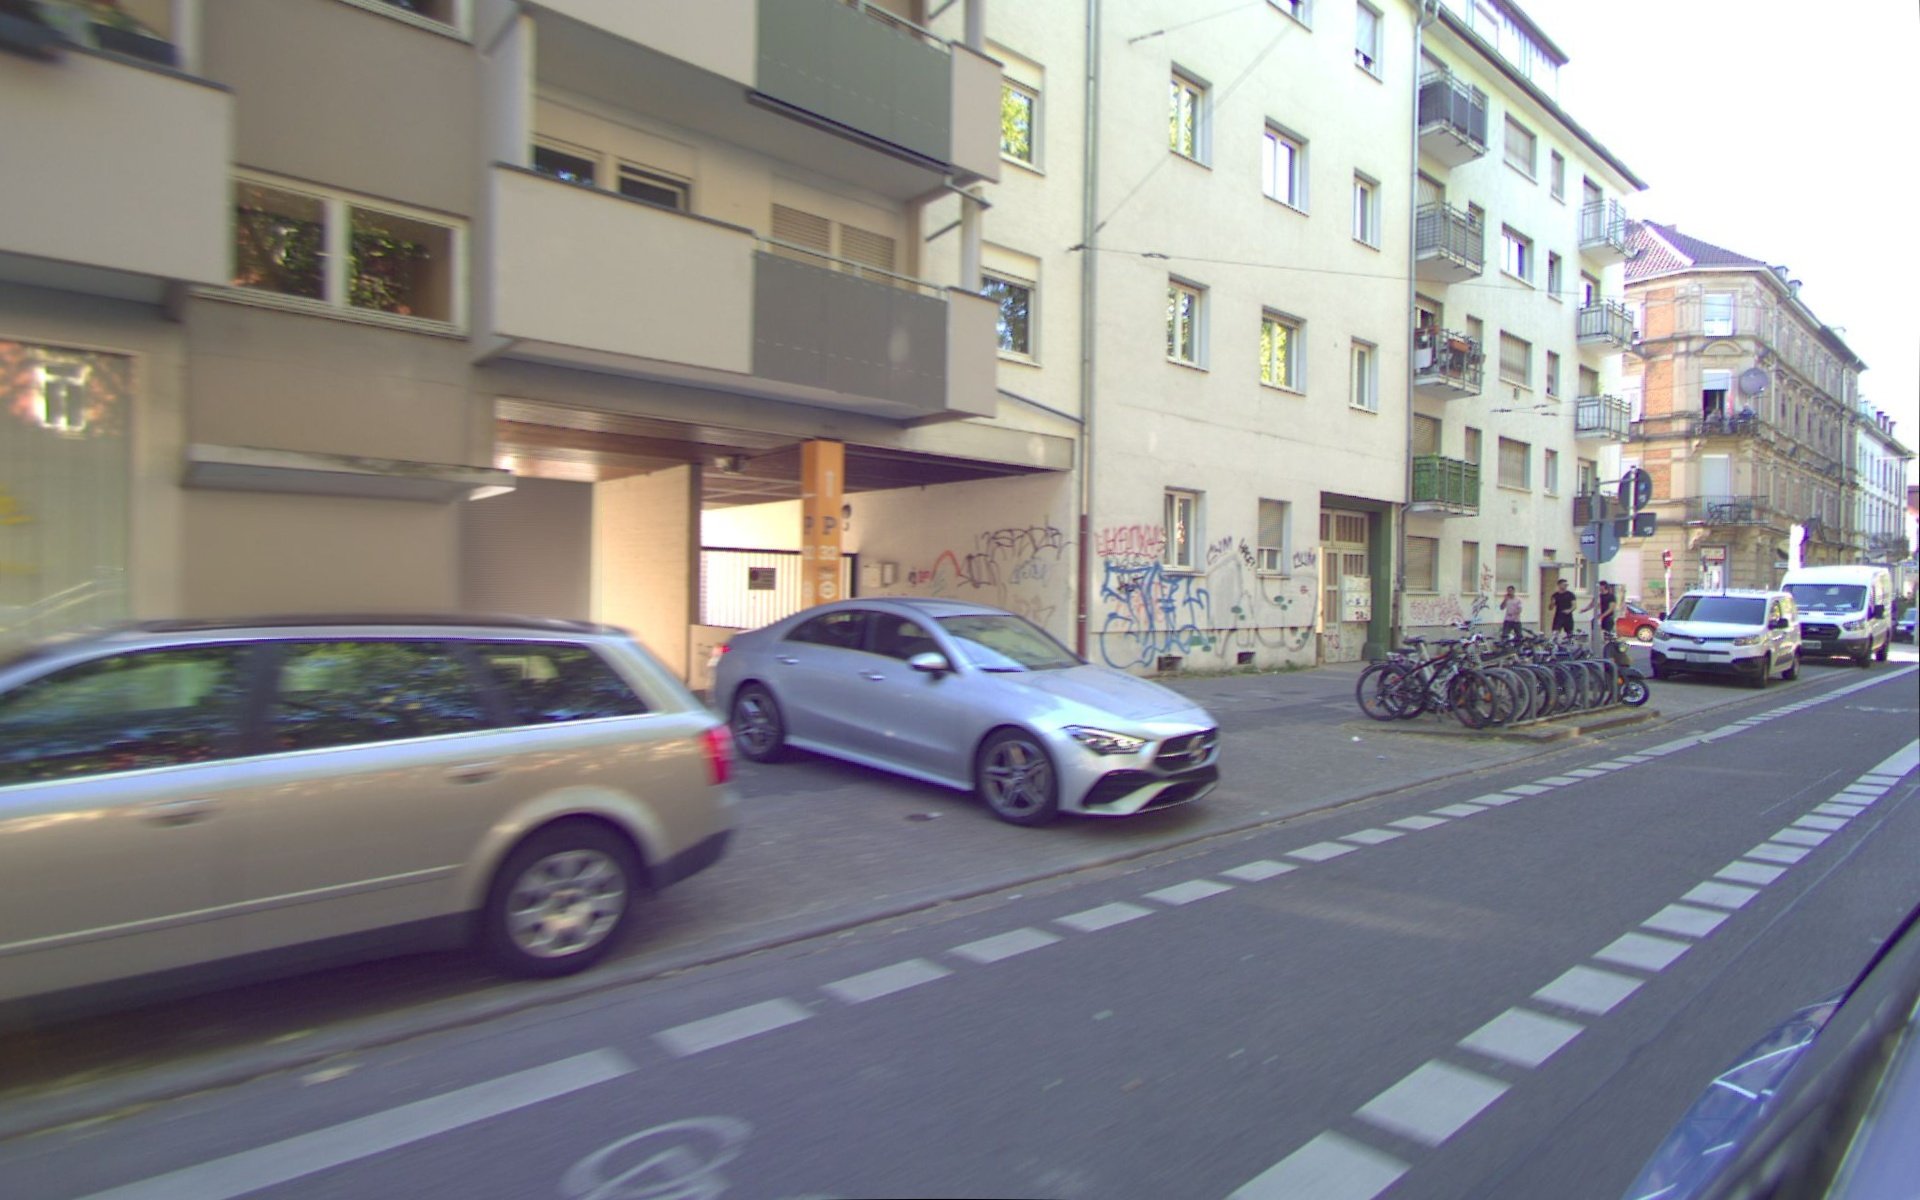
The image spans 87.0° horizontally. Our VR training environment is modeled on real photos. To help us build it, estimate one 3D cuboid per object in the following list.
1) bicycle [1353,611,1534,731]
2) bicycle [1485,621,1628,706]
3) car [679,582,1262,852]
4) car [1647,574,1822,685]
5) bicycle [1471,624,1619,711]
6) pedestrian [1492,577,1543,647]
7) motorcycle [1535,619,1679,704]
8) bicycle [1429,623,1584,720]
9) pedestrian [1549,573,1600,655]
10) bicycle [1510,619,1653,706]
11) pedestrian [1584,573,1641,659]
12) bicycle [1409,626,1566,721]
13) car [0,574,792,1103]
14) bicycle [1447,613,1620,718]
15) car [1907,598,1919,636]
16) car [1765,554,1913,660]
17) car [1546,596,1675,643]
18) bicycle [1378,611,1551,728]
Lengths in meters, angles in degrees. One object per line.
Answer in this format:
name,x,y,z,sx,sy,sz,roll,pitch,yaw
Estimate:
bicycle,5.748,0.798,12.133,0.449,1.206,1.897,0,3,-40
bicycle,8.398,0.866,14.308,0.449,0.999,1.657,0,3,-40
car,-0.132,0.667,8.238,4.607,1.455,1.838,3,2,39
car,15.449,0.475,20.124,4.276,1.841,1.863,-1,5,-41
bicycle,7.975,0.892,13.858,0.449,0.999,1.657,0,3,-40
pedestrian,13.425,0.280,24.378,0.916,1.598,0.634,-1,7,-39
motorcycle,9.608,0.878,15.109,0.604,1.093,1.829,1,2,-17
bicycle,6.951,0.879,12.940,0.449,1.033,1.657,0,3,-40
pedestrian,14.139,0.300,23.296,1.062,1.845,0.626,0,2,-39
bicycle,8.908,0.868,14.567,0.449,1.068,1.657,0,3,-40
pedestrian,14.473,0.334,22.458,1.062,1.845,0.711,0,2,-39
bicycle,6.545,0.882,12.633,0.449,0.978,1.657,0,3,-40
car,-3.031,0.684,3.909,4.431,1.544,1.729,0,1,-39
bicycle,7.489,0.810,13.289,0.692,1.162,1.798,0,3,-40
car,39.094,0.693,40.323,3.991,1.438,1.652,-1,3,-42
car,23.316,0.128,26.742,5.982,2.526,2.153,0,1,-41
car,23.930,0.676,37.308,1.757,1.594,3.659,-1,0,-38
bicycle,6.135,0.803,12.398,0.449,1.206,1.828,0,3,-40
